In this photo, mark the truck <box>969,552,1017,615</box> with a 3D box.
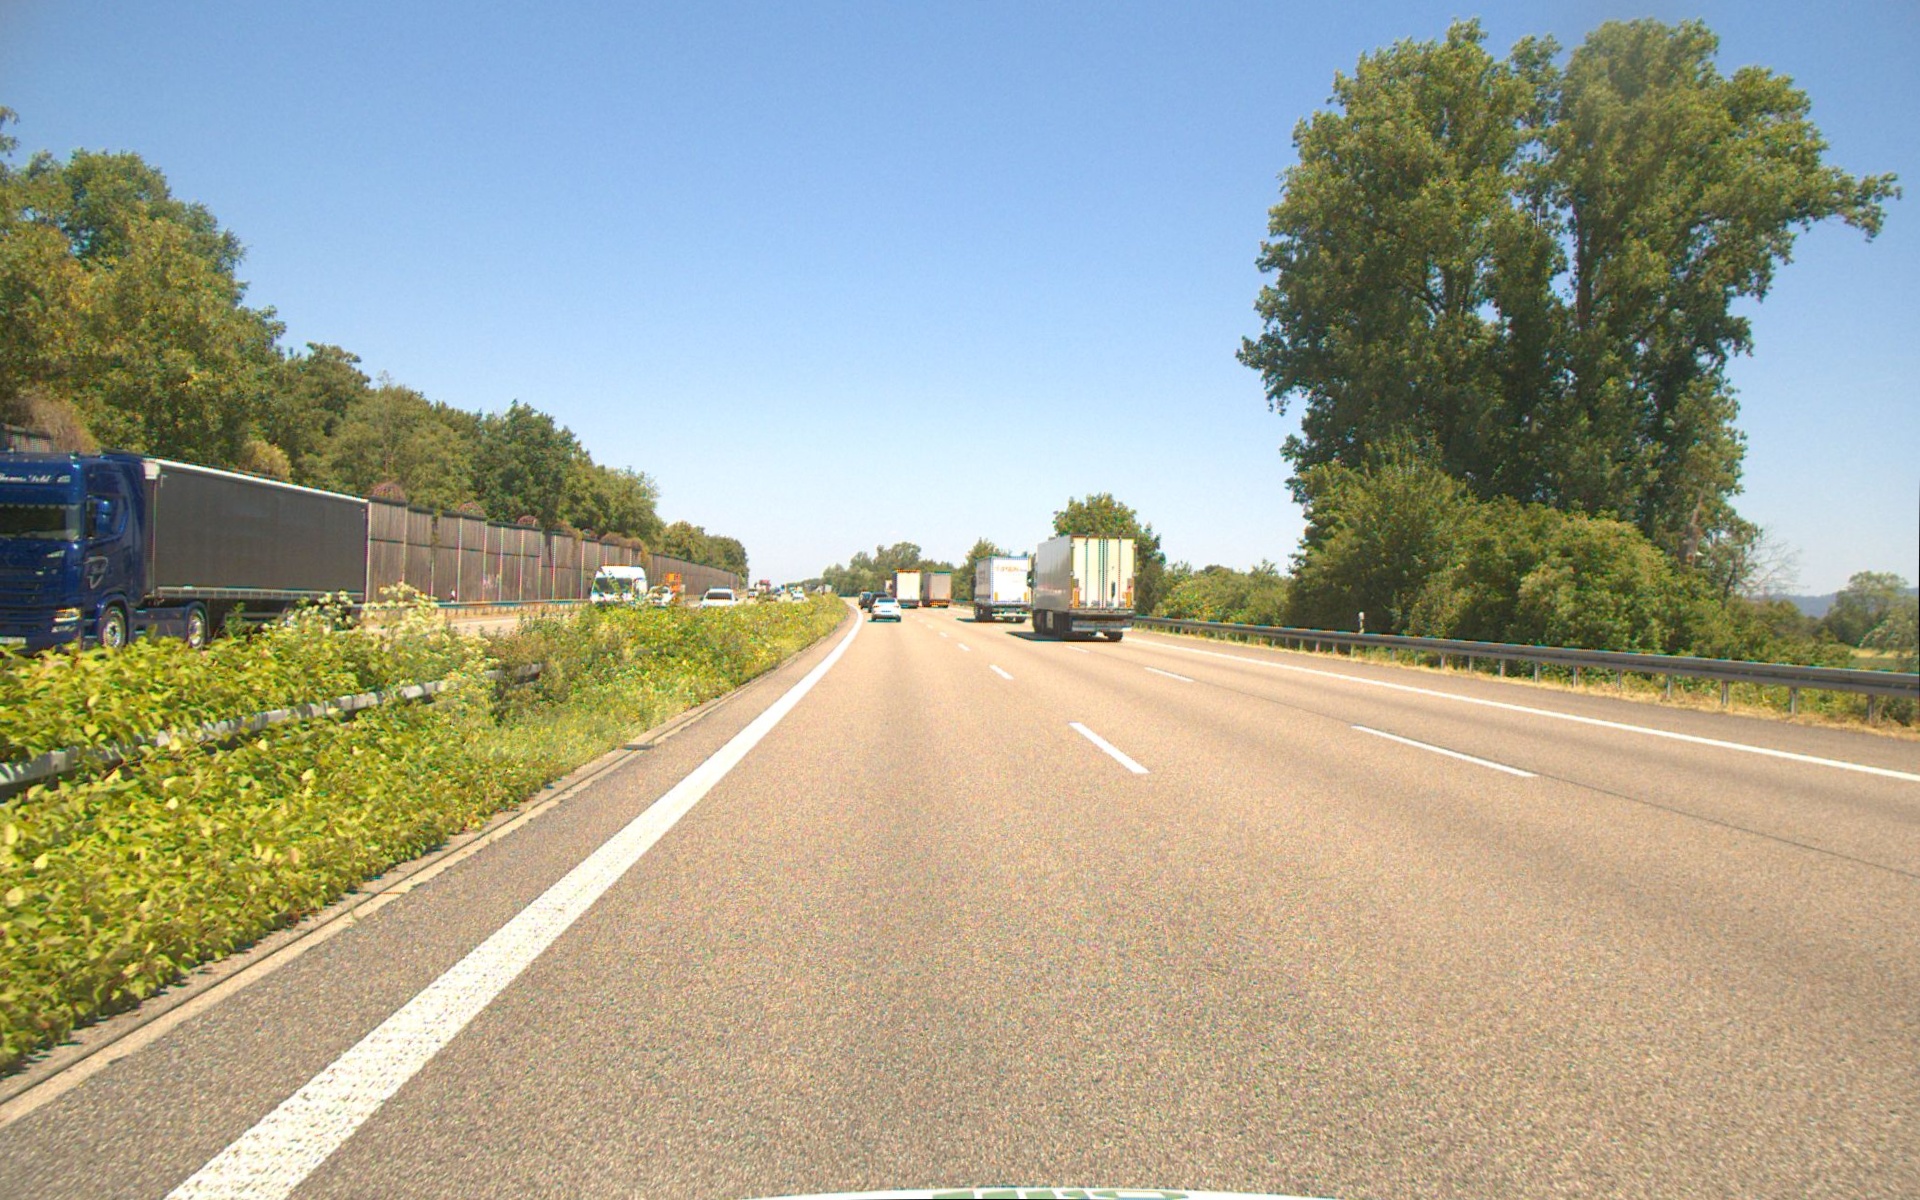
[{"bbox_3d":[2.264,-1.122,114.673,2.654,4.160,6.959,1,0,-4],"label":"truck"}]

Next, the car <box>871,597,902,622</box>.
[{"bbox_3d":[-4.553,0.575,101.681,1.818,1.512,3.997,1,0,-4],"label":"car"}]

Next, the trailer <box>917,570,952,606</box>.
[{"bbox_3d":[-3.156,-1.431,203.462,2.652,4.289,13.188,2,0,-8],"label":"trailer"}]

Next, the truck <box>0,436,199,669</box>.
[{"bbox_3d":[-17.787,-0.860,32.696,2.841,4.164,6.113,1,0,-3],"label":"truck"}]

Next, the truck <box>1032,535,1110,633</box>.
[{"bbox_3d":[4.965,-0.703,75.050,2.899,4.178,6.205,1,0,-2],"label":"truck"}]

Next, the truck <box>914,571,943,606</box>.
[{"bbox_3d":[-3.967,-1.438,209.491,2.641,4.289,7.824,2,0,-8],"label":"truck"}]

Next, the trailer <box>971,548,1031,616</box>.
[{"bbox_3d":[2.585,-1.112,109.432,2.654,4.160,14.140,1,0,-4],"label":"trailer"}]

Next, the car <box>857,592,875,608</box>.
[{"bbox_3d":[-9.640,-0.020,169.289,1.818,1.645,3.997,1,0,-4],"label":"car"}]

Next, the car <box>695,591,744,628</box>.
[{"bbox_3d":[-12.351,0.449,85.094,1.955,1.750,5.021,2,0,-3],"label":"car"}]

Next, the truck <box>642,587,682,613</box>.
[{"bbox_3d":[-22.220,-0.036,123.572,2.059,1.848,6.208,1,0,-2],"label":"truck"}]

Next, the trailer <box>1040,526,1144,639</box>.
[{"bbox_3d":[5.241,-0.682,68.279,2.899,4.178,12.528,1,0,-2],"label":"trailer"}]

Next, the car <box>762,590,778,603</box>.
[{"bbox_3d":[-26.056,-0.457,226.389,1.956,1.676,4.683,1,0,-9],"label":"car"}]

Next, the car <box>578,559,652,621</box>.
[{"bbox_3d":[-15.700,-0.461,75.612,2.121,2.585,6.786,2,0,-3],"label":"car"}]

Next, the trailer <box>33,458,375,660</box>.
[{"bbox_3d":[-18.154,-0.842,41.241,2.840,4.164,13.326,1,0,-2],"label":"trailer"}]

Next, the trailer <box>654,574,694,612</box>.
[{"bbox_3d":[-22.439,-0.558,129.914,2.197,2.824,6.506,1,0,-3],"label":"trailer"}]

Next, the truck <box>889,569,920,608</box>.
[{"bbox_3d":[-6.294,-1.258,186.850,2.654,4.157,13.459,2,0,-5],"label":"truck"}]
